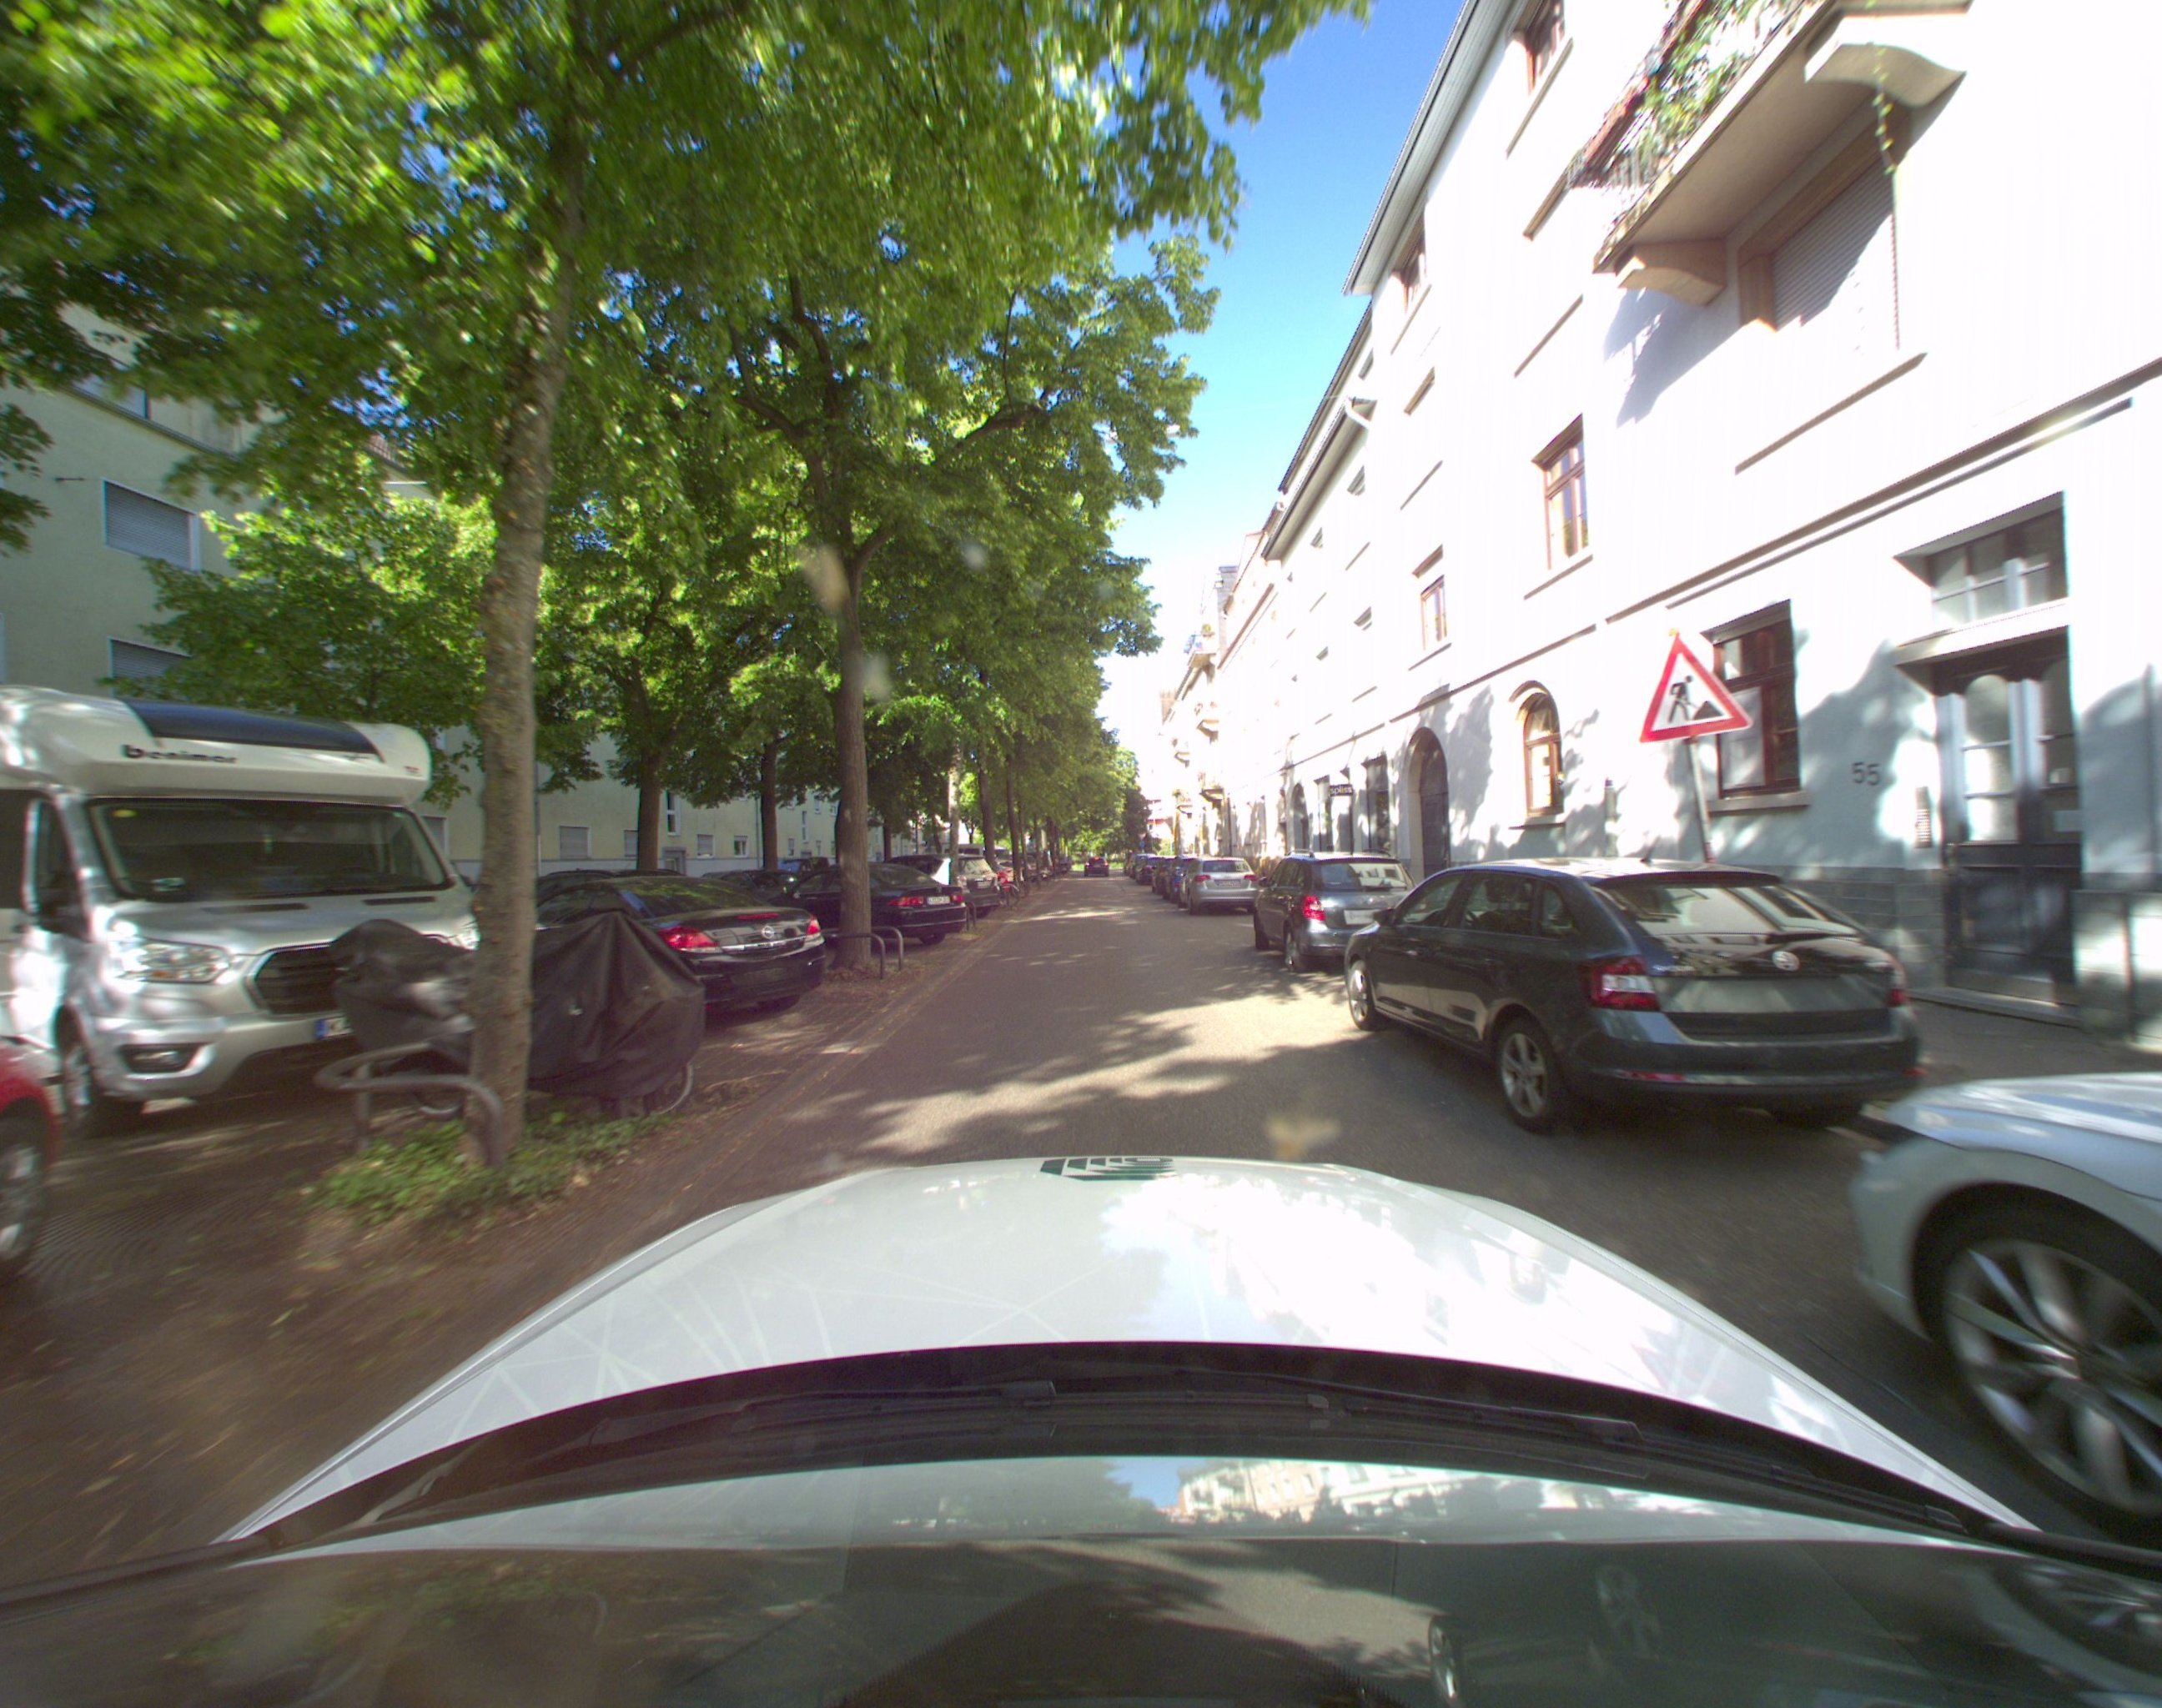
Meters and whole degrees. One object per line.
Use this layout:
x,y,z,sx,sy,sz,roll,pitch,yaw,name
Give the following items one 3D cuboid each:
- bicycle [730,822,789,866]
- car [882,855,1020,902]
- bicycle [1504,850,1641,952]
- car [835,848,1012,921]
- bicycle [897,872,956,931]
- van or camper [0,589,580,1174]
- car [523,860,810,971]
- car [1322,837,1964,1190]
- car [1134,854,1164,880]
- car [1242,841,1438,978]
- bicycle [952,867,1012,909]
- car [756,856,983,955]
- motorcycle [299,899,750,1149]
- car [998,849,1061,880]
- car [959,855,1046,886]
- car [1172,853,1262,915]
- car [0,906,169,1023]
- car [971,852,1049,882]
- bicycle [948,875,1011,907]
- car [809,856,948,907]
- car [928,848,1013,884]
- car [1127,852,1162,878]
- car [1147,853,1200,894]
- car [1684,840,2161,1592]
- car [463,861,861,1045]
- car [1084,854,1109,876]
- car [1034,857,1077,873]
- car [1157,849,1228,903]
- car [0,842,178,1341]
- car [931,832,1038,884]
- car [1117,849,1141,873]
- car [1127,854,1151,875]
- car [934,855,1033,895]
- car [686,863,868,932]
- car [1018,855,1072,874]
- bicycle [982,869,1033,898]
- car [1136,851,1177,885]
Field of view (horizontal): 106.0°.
-9.089,-0.266,23.088,0.352,1.200,1.811,-1,0,25,bicycle
-4.529,0.823,28.126,4.570,1.486,1.772,-1,0,30,car
6.255,0.560,10.487,0.406,1.186,1.843,-1,0,-8,bicycle
-3.942,0.722,20.310,4.037,1.653,1.874,-1,0,28,car
-3.206,0.975,17.040,0.424,1.130,1.686,-2,0,17,bicycle
-7.033,0.165,6.516,6.226,2.825,2.422,-1,0,29,van or camper
-6.381,0.873,12.536,3.951,1.486,1.840,-1,-1,24,car
3.097,0.713,5.612,1.594,1.492,3.964,-2,0,-1,car
4.006,0.746,48.200,1.584,1.415,3.634,0,0,2,car
3.374,0.644,11.394,1.574,1.551,4.044,-1,0,2,car
-2.794,0.944,22.942,1.671,1.158,0.381,-1,-1,20,bicycle
-3.780,0.873,14.269,3.968,1.474,1.637,-3,0,36,car
-3.191,0.919,4.775,2.134,1.230,0.884,-2,0,9,motorcycle
-3.454,0.711,54.318,3.801,1.888,1.856,-2,0,36,car
-3.990,0.826,41.079,4.057,1.481,1.743,-2,-1,30,car
3.503,0.724,21.689,1.763,1.431,4.292,-1,0,1,car
-15.055,1.522,10.559,1.639,1.399,4.302,0,0,-1,car
-4.087,0.728,46.811,4.221,1.641,1.665,-1,0,29,car
-3.068,1.115,24.583,1.882,0.919,0.381,-1,0,20,bicycle
-6.437,0.869,25.809,4.063,1.473,1.883,-2,0,29,car
-6.104,0.672,44.919,4.338,1.777,1.911,-2,-1,28,car
4.207,0.725,54.345,1.859,1.643,4.489,0,0,-1,car
3.555,0.722,31.738,1.686,1.468,4.006,-1,0,1,car
2.870,0.689,0.490,1.601,1.420,4.568,-2,0,0,car
-4.322,0.844,8.210,4.103,1.425,1.726,-2,-1,33,car
1.171,0.809,60.158,1.707,1.483,4.147,-3,0,3,car
-2.534,1.110,80.131,4.089,1.481,1.787,-2,-2,41,car
3.547,0.662,26.586,1.761,1.551,4.185,-2,0,1,car
-3.923,0.783,1.653,1.669,1.618,3.842,-3,0,-31,car
-6.045,0.280,51.220,6.018,2.623,2.466,-6,-3,16,car
3.969,0.589,67.613,1.795,1.871,4.273,1,0,1,car
4.417,0.756,62.671,1.639,1.537,4.000,1,0,1,car
-4.019,0.846,33.700,3.648,1.596,1.783,-1,0,26,car
-7.030,0.951,18.713,4.144,1.391,1.830,-2,-1,34,car
-2.881,0.862,64.885,4.092,1.466,1.859,0,-1,-12,car
-2.667,1.059,29.571,1.797,0.994,0.427,-2,-1,16,bicycle
3.820,0.679,41.880,1.798,1.563,4.323,-3,0,2,car
